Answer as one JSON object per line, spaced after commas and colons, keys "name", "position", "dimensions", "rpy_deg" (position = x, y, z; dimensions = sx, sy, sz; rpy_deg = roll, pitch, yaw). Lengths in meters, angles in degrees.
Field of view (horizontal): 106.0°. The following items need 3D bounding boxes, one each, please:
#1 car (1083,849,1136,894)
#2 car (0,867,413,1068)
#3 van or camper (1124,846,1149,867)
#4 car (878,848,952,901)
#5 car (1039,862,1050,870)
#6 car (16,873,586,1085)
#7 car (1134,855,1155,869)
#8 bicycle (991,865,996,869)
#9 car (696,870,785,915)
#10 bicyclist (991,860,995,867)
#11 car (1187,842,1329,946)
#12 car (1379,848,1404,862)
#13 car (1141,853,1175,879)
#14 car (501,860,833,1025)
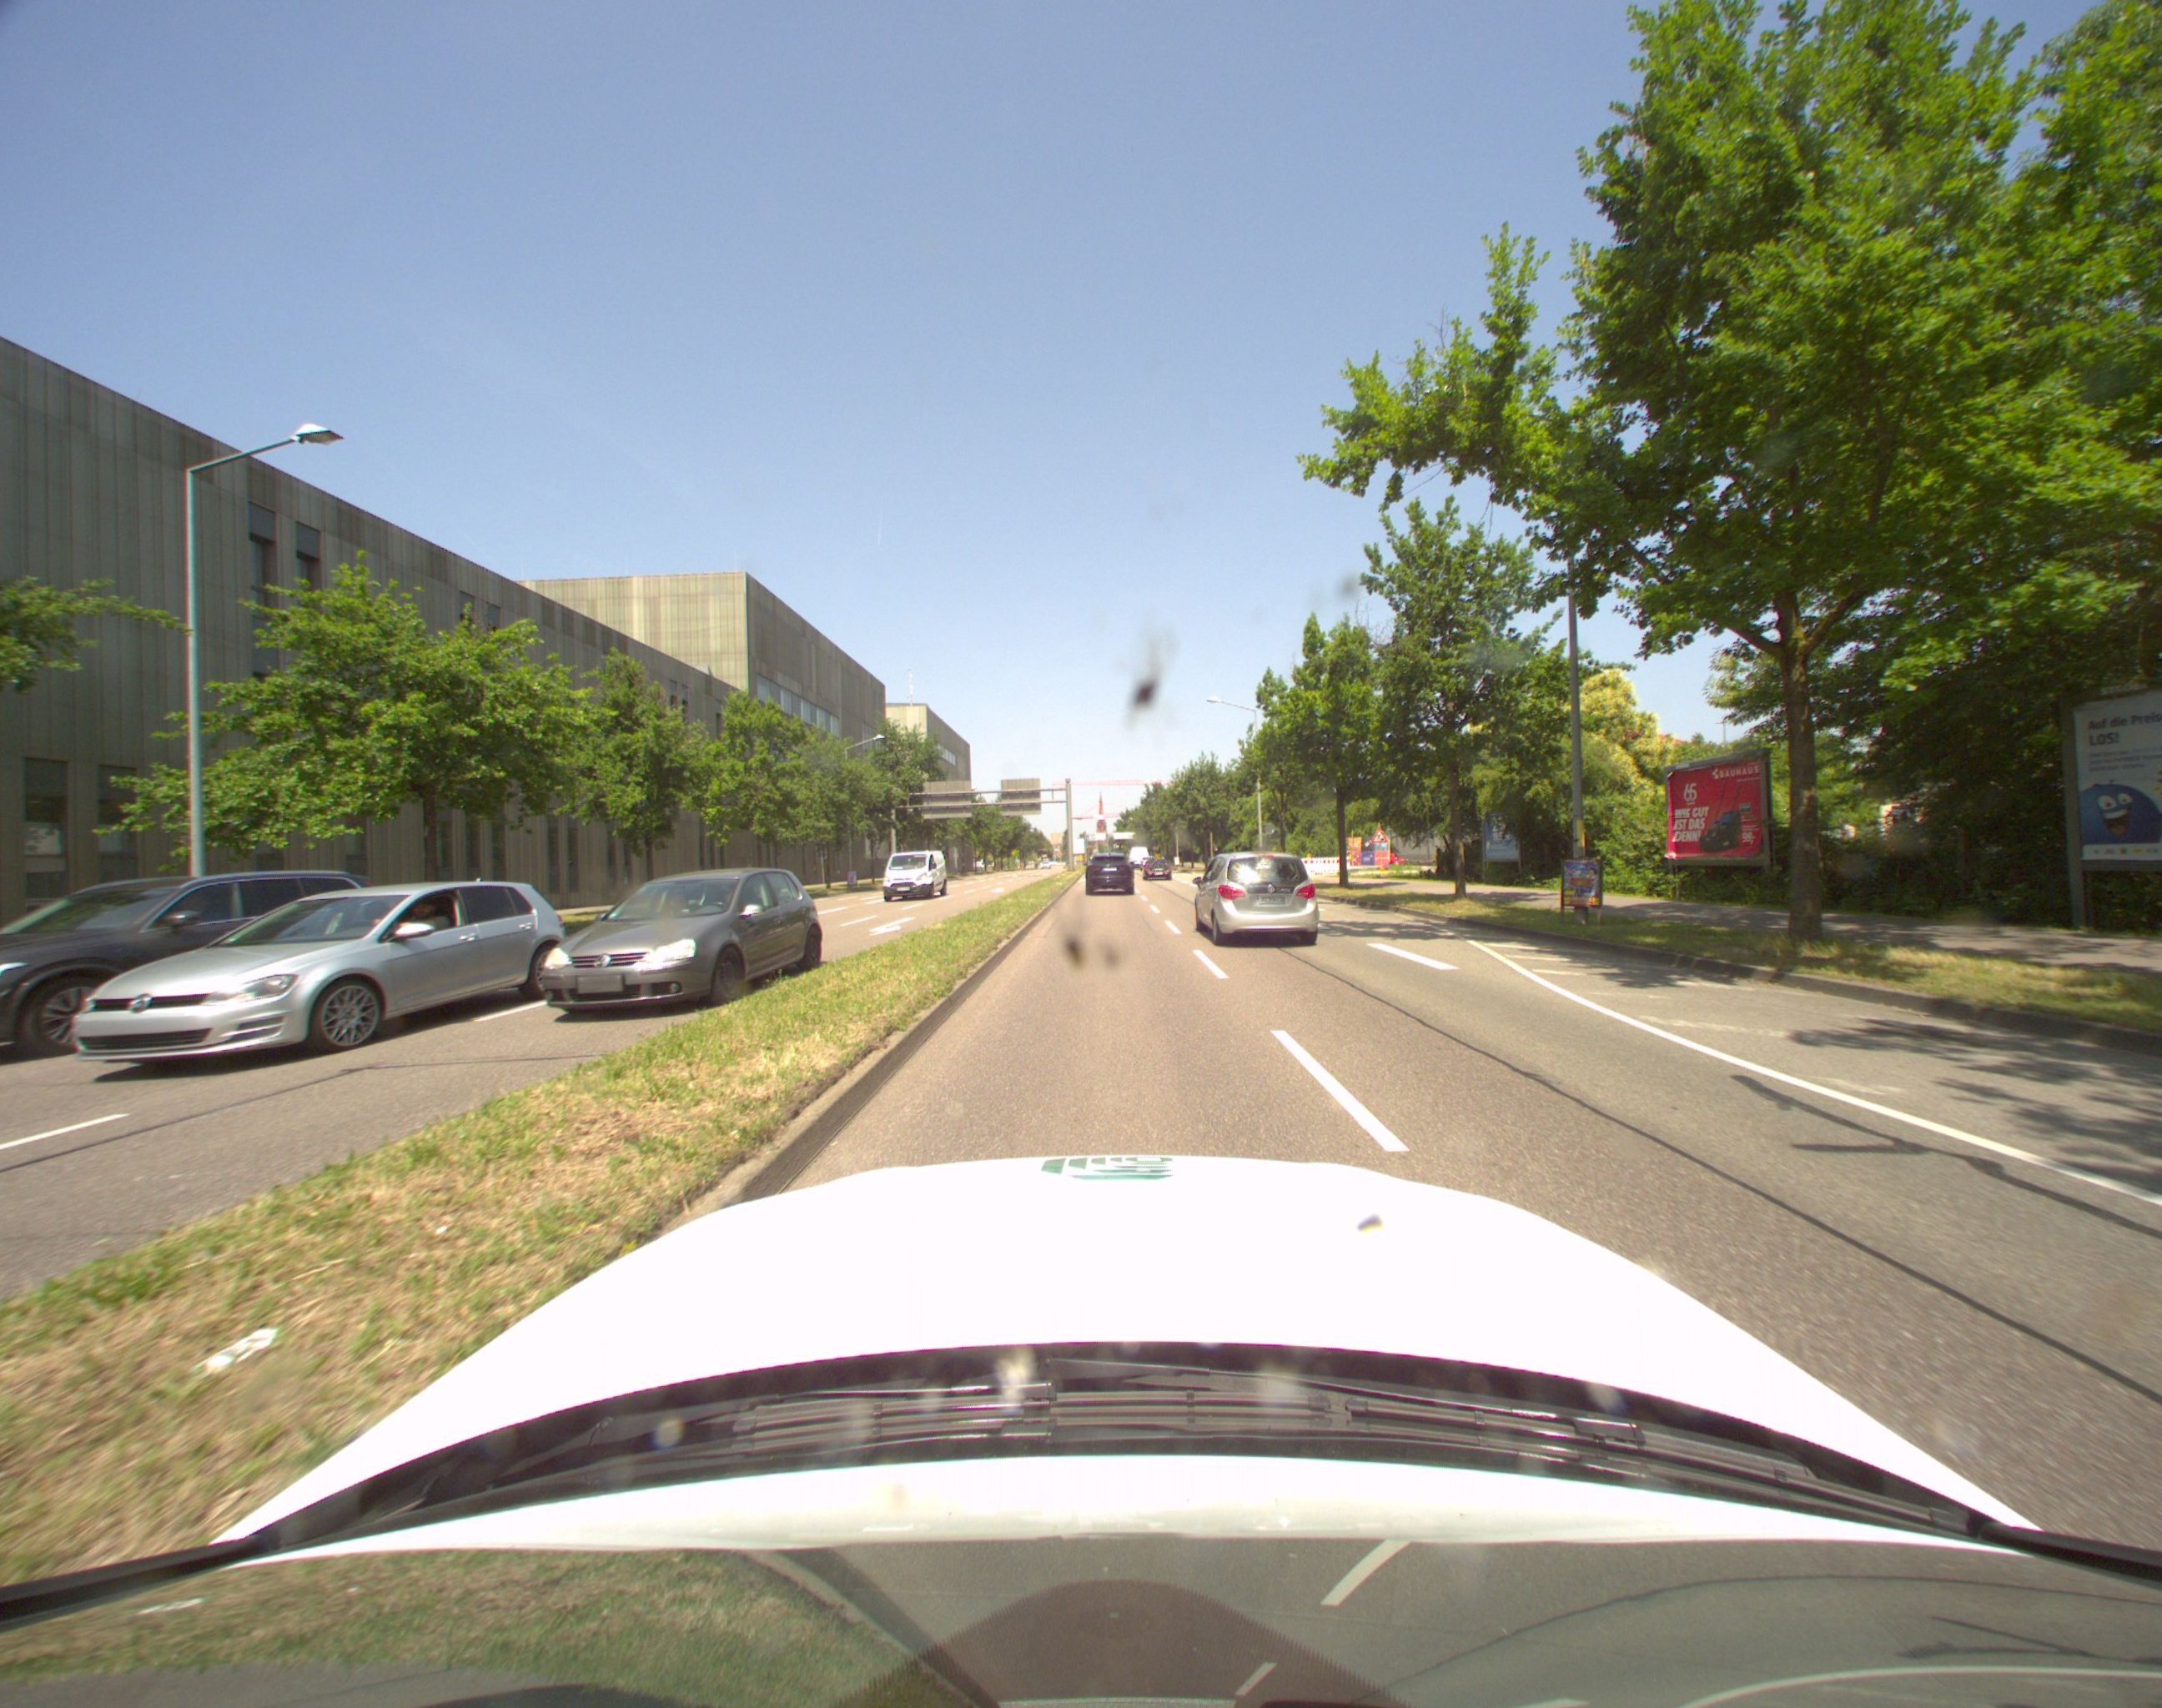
{"name": "car", "position": [1.184, 0.695, 33.177], "dimensions": [1.990, 1.689, 4.036], "rpy_deg": [-1, 0, 3]}
{"name": "car", "position": [-10.605, 1.102, 9.457], "dimensions": [1.805, 1.747, 4.645], "rpy_deg": [-3, 0, 0]}
{"name": "van or camper", "position": [6.371, 0.287, 93.773], "dimensions": [2.486, 2.291, 4.919], "rpy_deg": [-2, -1, -1]}
{"name": "car", "position": [-6.949, 0.828, 34.621], "dimensions": [1.902, 1.993, 4.900], "rpy_deg": [-3, 0, 2]}
{"name": "car", "position": [-7.118, 2.334, 159.019], "dimensions": [1.805, 1.427, 4.357], "rpy_deg": [-3, 0, 0]}
{"name": "car", "position": [-7.319, 1.018, 8.392], "dimensions": [1.759, 1.460, 4.146], "rpy_deg": [-3, 0, 1]}
{"name": "car", "position": [6.607, 0.859, 85.067], "dimensions": [1.650, 1.356, 4.456], "rpy_deg": [-2, -1, -2]}
{"name": "bicycle", "position": [-17.116, 2.528, 159.340], "dimensions": [0.479, 0.715, 1.852], "rpy_deg": [-2, -1, 5]}
{"name": "car", "position": [-12.769, 1.388, 30.800], "dimensions": [1.616, 1.456, 4.016], "rpy_deg": [-2, 0, 0]}
{"name": "bicyclist", "position": [-17.163, 1.876, 159.104], "dimensions": [0.620, 1.489, 0.758], "rpy_deg": [-2, -1, 4]}
{"name": "car", "position": [3.091, 0.652, 14.997], "dimensions": [1.786, 1.612, 3.891], "rpy_deg": [-2, 0, 1]}
{"name": "car", "position": [28.821, 0.069, 75.635], "dimensions": [1.372, 1.187, 3.310], "rpy_deg": [-2, 0, 8]}
{"name": "car", "position": [4.894, 0.750, 52.204], "dimensions": [2.005, 1.517, 4.464], "rpy_deg": [-2, -1, 3]}
{"name": "car", "position": [-4.567, 0.858, 9.797], "dimensions": [1.804, 1.466, 4.057], "rpy_deg": [-3, 0, 0]}
